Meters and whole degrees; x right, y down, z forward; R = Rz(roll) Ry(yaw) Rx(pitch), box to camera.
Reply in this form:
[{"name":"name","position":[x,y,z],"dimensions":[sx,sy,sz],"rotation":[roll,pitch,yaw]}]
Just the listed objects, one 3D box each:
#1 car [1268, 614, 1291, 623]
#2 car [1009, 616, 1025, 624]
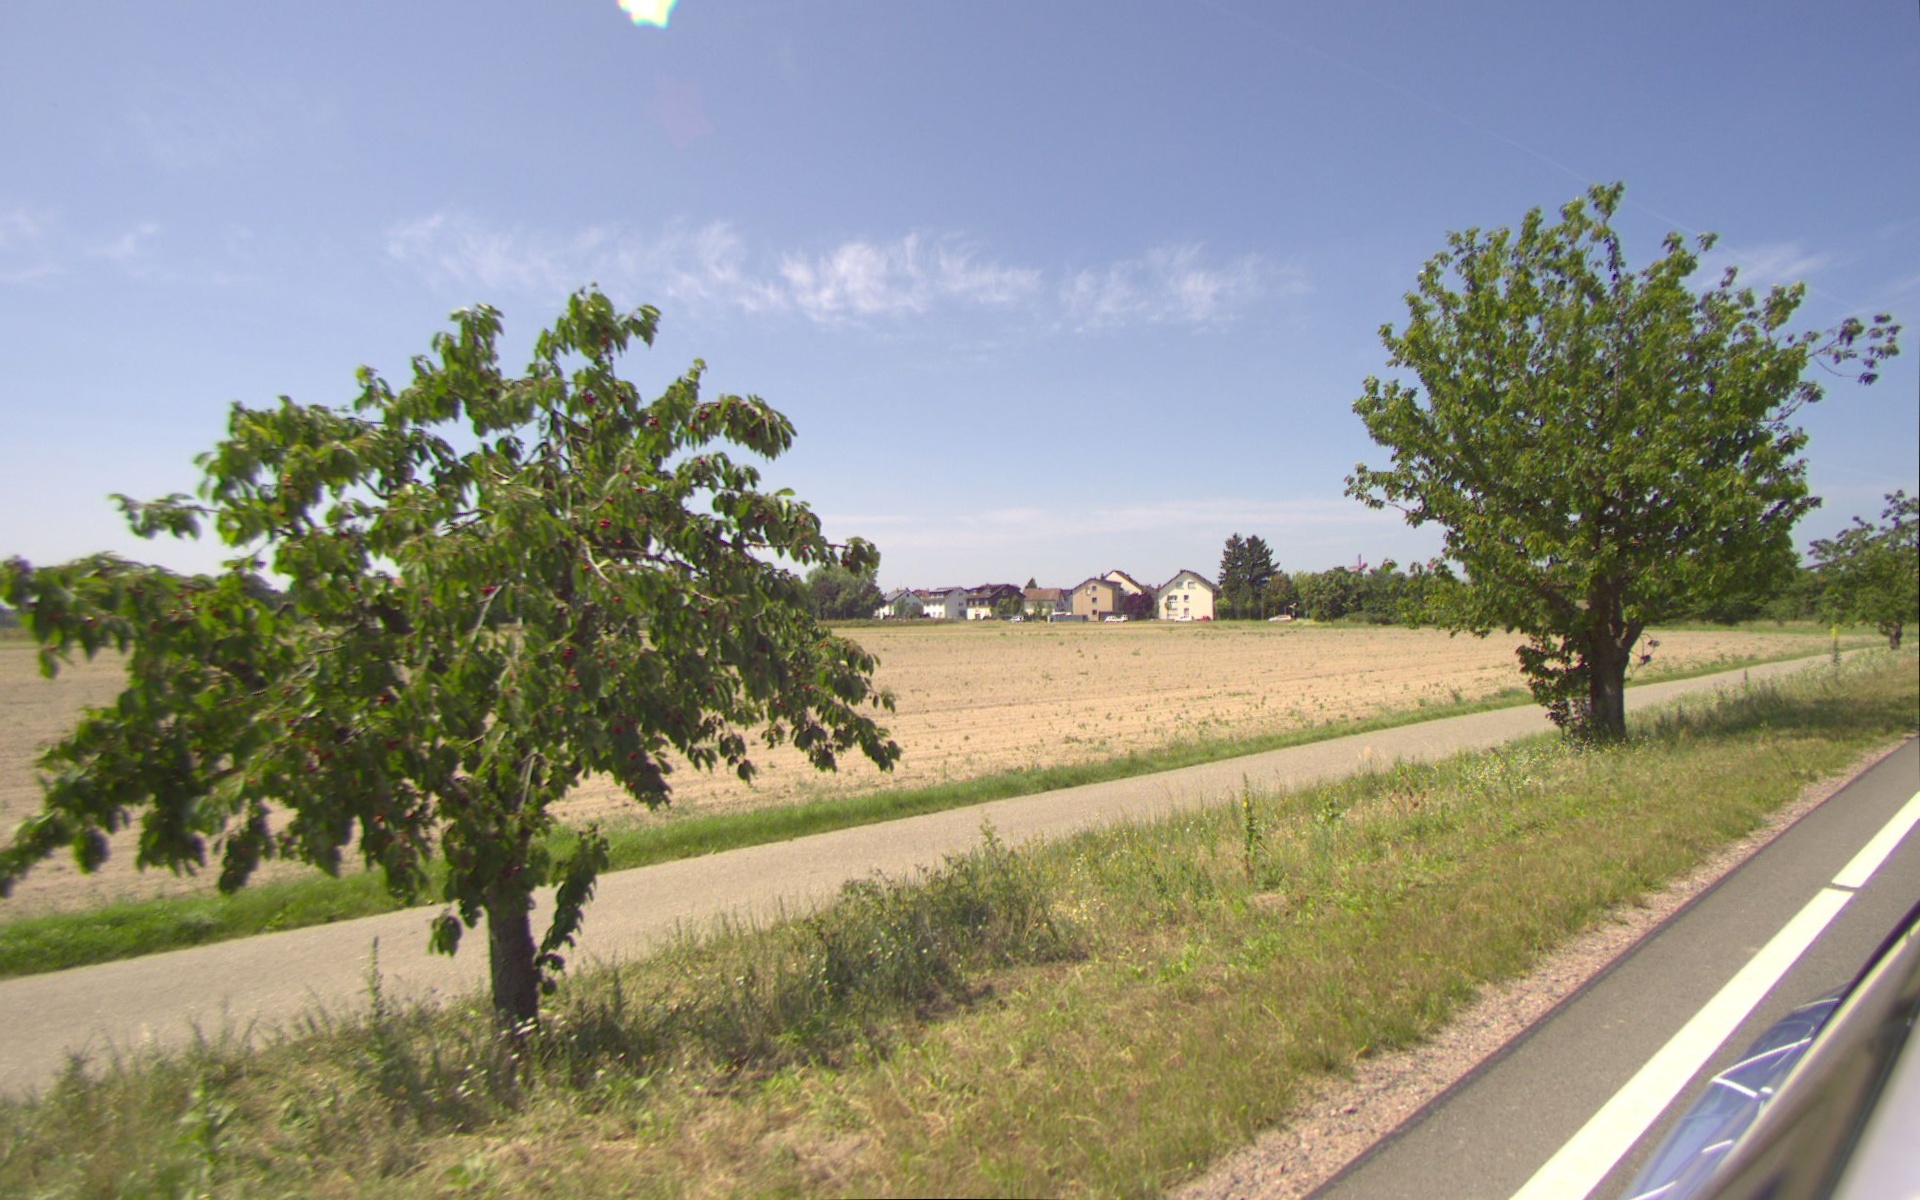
[{"name":"car","position":[62.015,3.626,196.395],"dimensions":[4.313,1.763,1.758],"rotation":[0,0,18]},{"name":"car","position":[13.284,4.609,234.568],"dimensions":[3.437,1.812,1.470],"rotation":[0,0,21]}]
